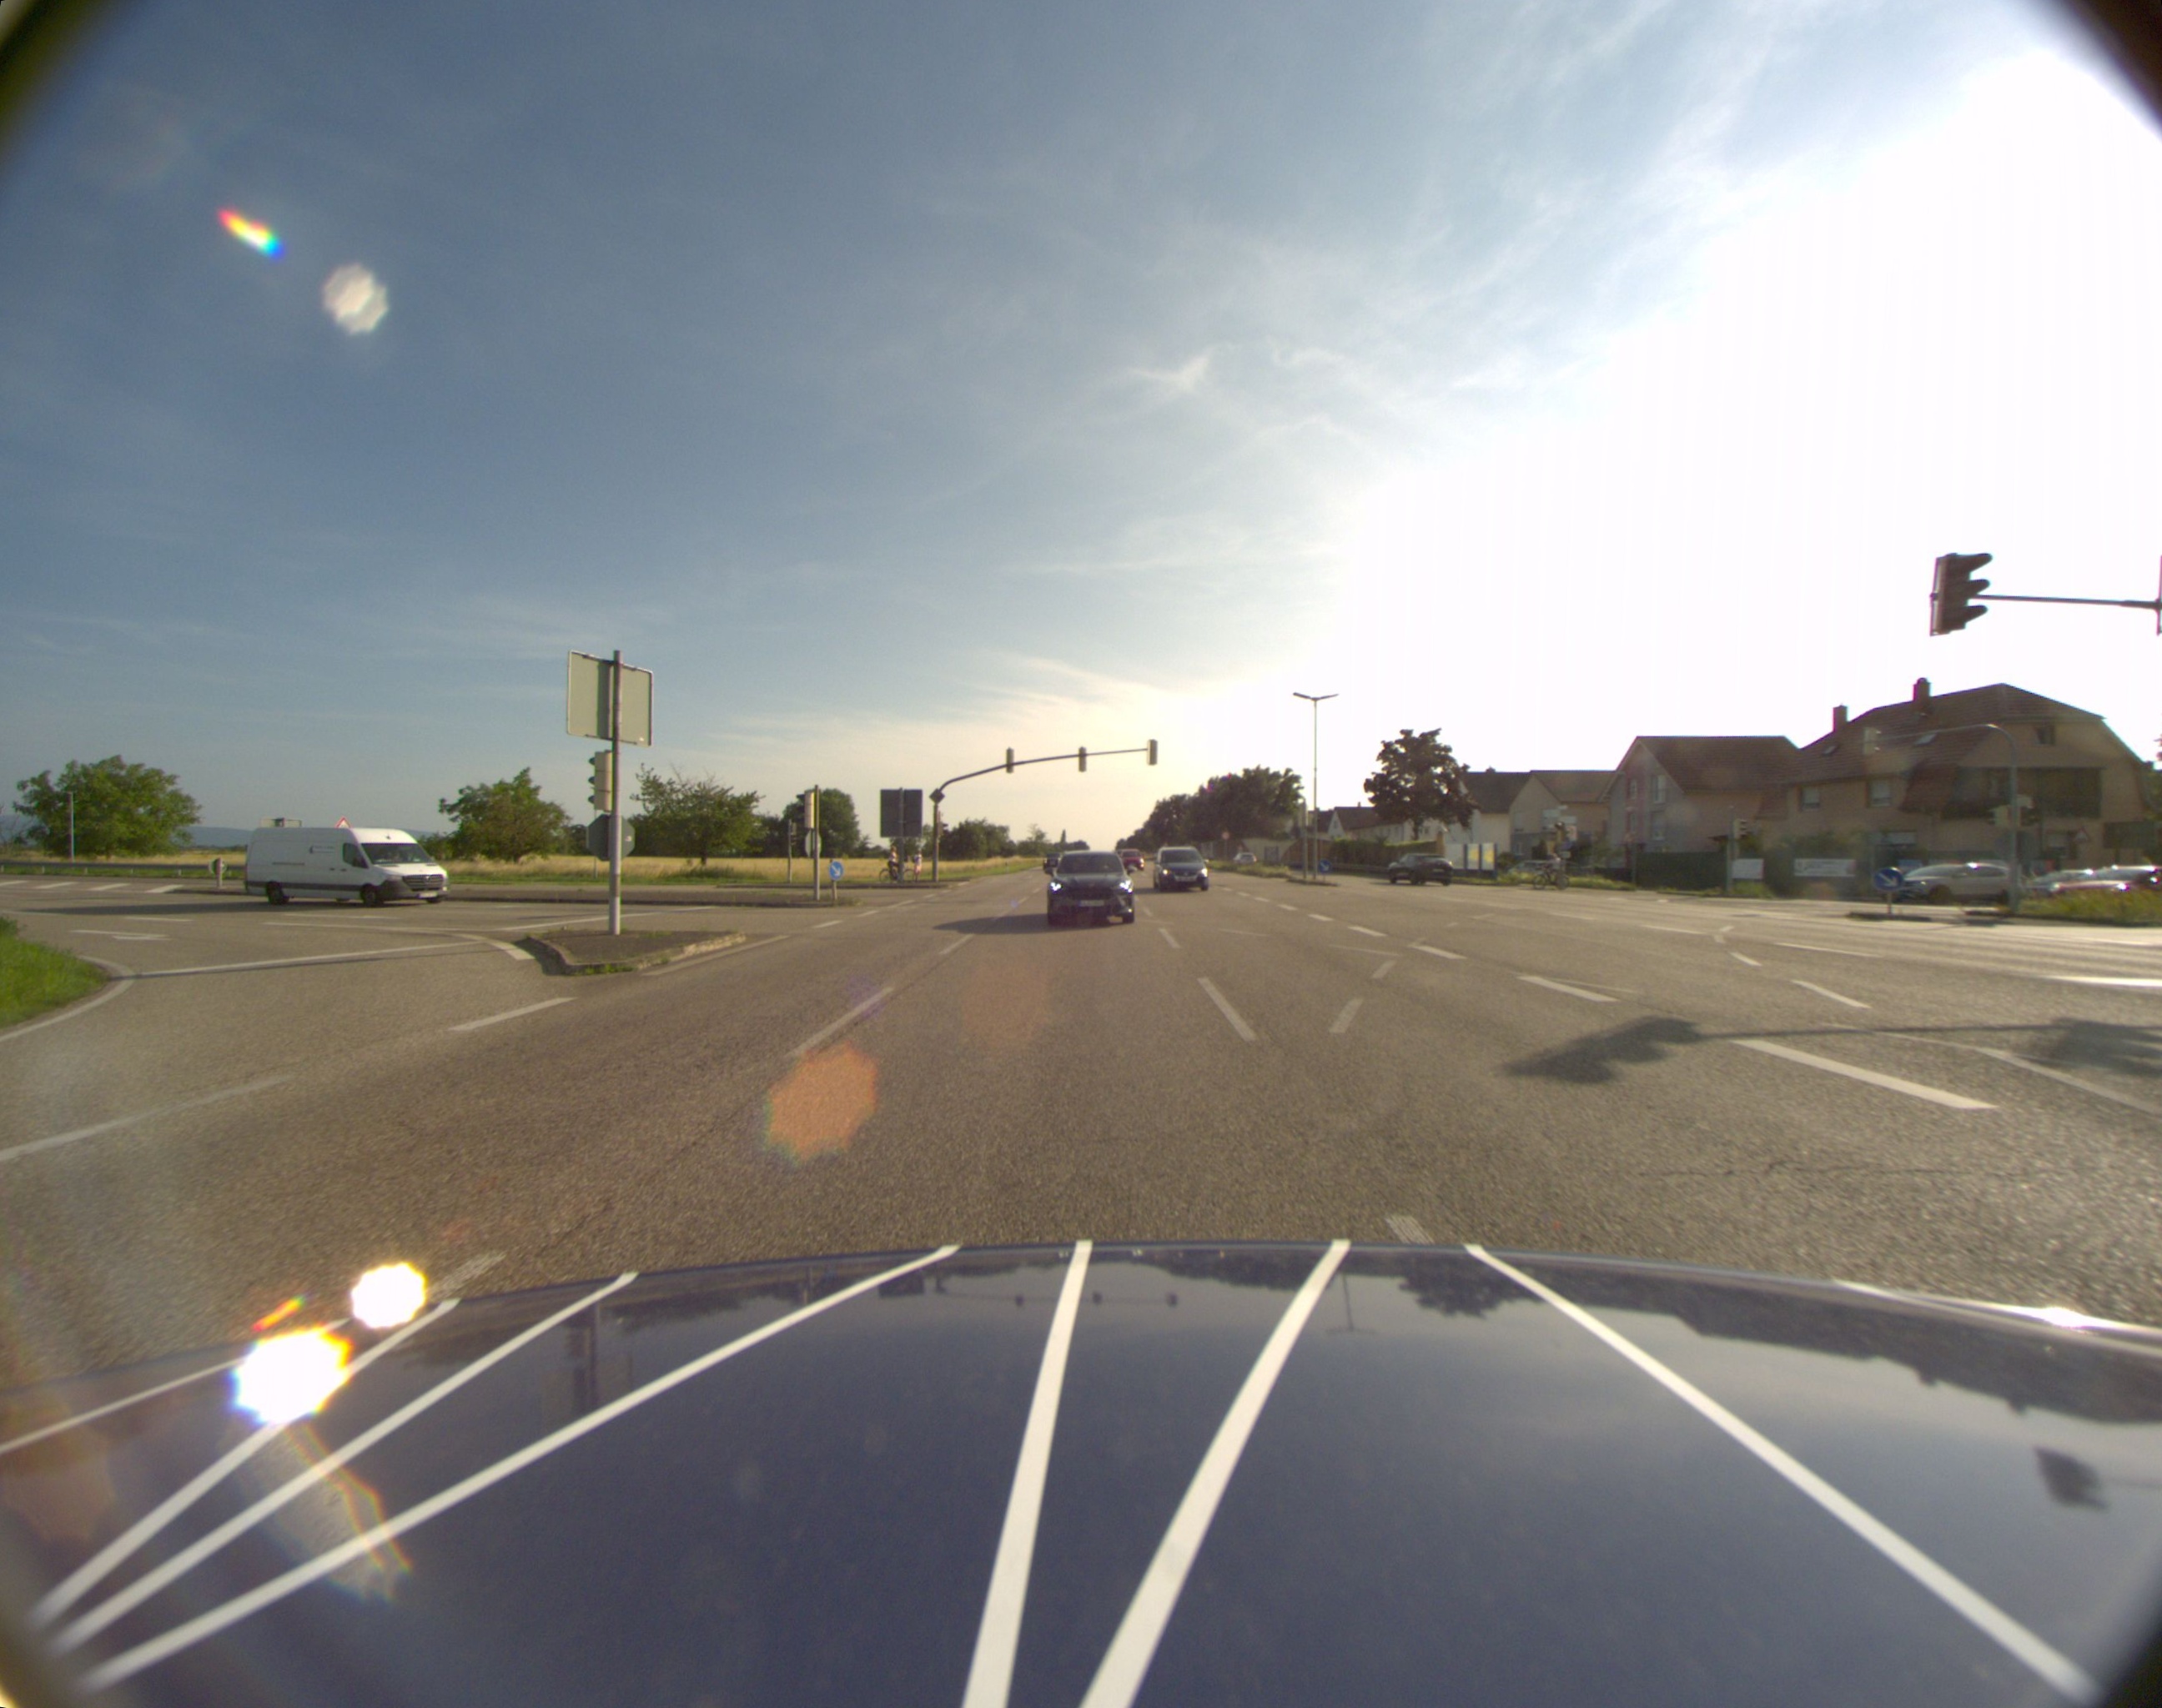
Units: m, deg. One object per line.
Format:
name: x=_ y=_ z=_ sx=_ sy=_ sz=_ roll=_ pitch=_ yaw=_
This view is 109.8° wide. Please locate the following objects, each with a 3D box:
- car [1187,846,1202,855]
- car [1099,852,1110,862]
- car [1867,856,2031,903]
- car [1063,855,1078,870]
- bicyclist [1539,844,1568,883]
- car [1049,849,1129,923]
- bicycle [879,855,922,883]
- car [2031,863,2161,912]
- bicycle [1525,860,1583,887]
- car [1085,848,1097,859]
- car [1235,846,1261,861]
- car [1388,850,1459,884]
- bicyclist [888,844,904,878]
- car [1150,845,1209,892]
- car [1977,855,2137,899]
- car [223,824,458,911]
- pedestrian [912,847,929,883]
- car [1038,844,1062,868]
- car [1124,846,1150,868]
car: x=18.916 y=-0.646 z=126.923 sx=1.793 sy=1.375 sz=4.553 roll=-2 pitch=1 yaw=0
car: x=5.047 y=0.642 z=160.562 sx=1.999 sy=2.002 sz=3.998 roll=-2 pitch=1 yaw=-2
car: x=32.696 y=0.934 z=28.705 sx=3.996 sy=1.554 sz=1.758 roll=2 pitch=1 yaw=2
car: x=-1.223 y=0.994 z=89.967 sx=1.686 sy=1.565 sz=3.816 roll=-2 pitch=1 yaw=-2
bicyclist: x=22.678 y=0.444 z=36.491 sx=0.856 sy=1.777 sz=0.847 roll=3 pitch=2 yaw=9
car: x=0.239 y=0.708 z=19.403 sx=1.791 sy=1.594 sz=4.339 roll=-2 pitch=1 yaw=2
bicycle: x=-8.637 y=0.717 z=36.349 sx=1.857 sy=1.282 sz=0.529 roll=-2 pitch=1 yaw=4
car: x=33.273 y=1.085 z=24.209 sx=4.304 sy=1.405 sz=1.641 roll=2 pitch=1 yaw=-5
bicycle: x=22.695 y=0.929 z=36.515 sx=2.159 sy=1.185 sz=0.904 roll=1 pitch=2 yaw=10
car: x=1.972 y=-0.132 z=149.855 sx=1.999 sy=2.002 sz=3.998 roll=-2 pitch=1 yaw=-3
car: x=18.151 y=-0.077 z=82.829 sx=1.758 sy=1.454 sz=4.734 roll=2 pitch=1 yaw=1
car: x=16.954 y=0.600 z=37.808 sx=1.736 sy=1.533 sz=4.247 roll=2 pitch=1 yaw=3
bicyclist: x=-8.844 y=0.353 z=36.383 sx=0.560 sy=1.603 sz=0.504 roll=-1 pitch=1 yaw=7
car: x=3.738 y=0.501 z=29.495 sx=1.777 sy=1.612 sz=4.681 roll=-1 pitch=1 yaw=2
car: x=37.956 y=0.868 z=29.610 sx=3.997 sy=1.556 sz=1.825 roll=-2 pitch=1 yaw=-2
car: x=-24.584 y=0.389 z=25.247 sx=7.202 sy=2.654 sz=2.094 roll=0 pitch=2 yaw=15
pedestrian: x=-8.103 y=0.547 z=38.330 sx=0.623 sy=1.741 sz=0.598 roll=-1 pitch=1 yaw=11
car: x=-2.783 y=0.174 z=68.593 sx=1.999 sy=2.002 sz=3.999 roll=-2 pitch=1 yaw=-2
car: x=4.227 y=0.189 z=57.975 sx=1.748 sy=1.537 sz=4.000 roll=-2 pitch=1 yaw=1
